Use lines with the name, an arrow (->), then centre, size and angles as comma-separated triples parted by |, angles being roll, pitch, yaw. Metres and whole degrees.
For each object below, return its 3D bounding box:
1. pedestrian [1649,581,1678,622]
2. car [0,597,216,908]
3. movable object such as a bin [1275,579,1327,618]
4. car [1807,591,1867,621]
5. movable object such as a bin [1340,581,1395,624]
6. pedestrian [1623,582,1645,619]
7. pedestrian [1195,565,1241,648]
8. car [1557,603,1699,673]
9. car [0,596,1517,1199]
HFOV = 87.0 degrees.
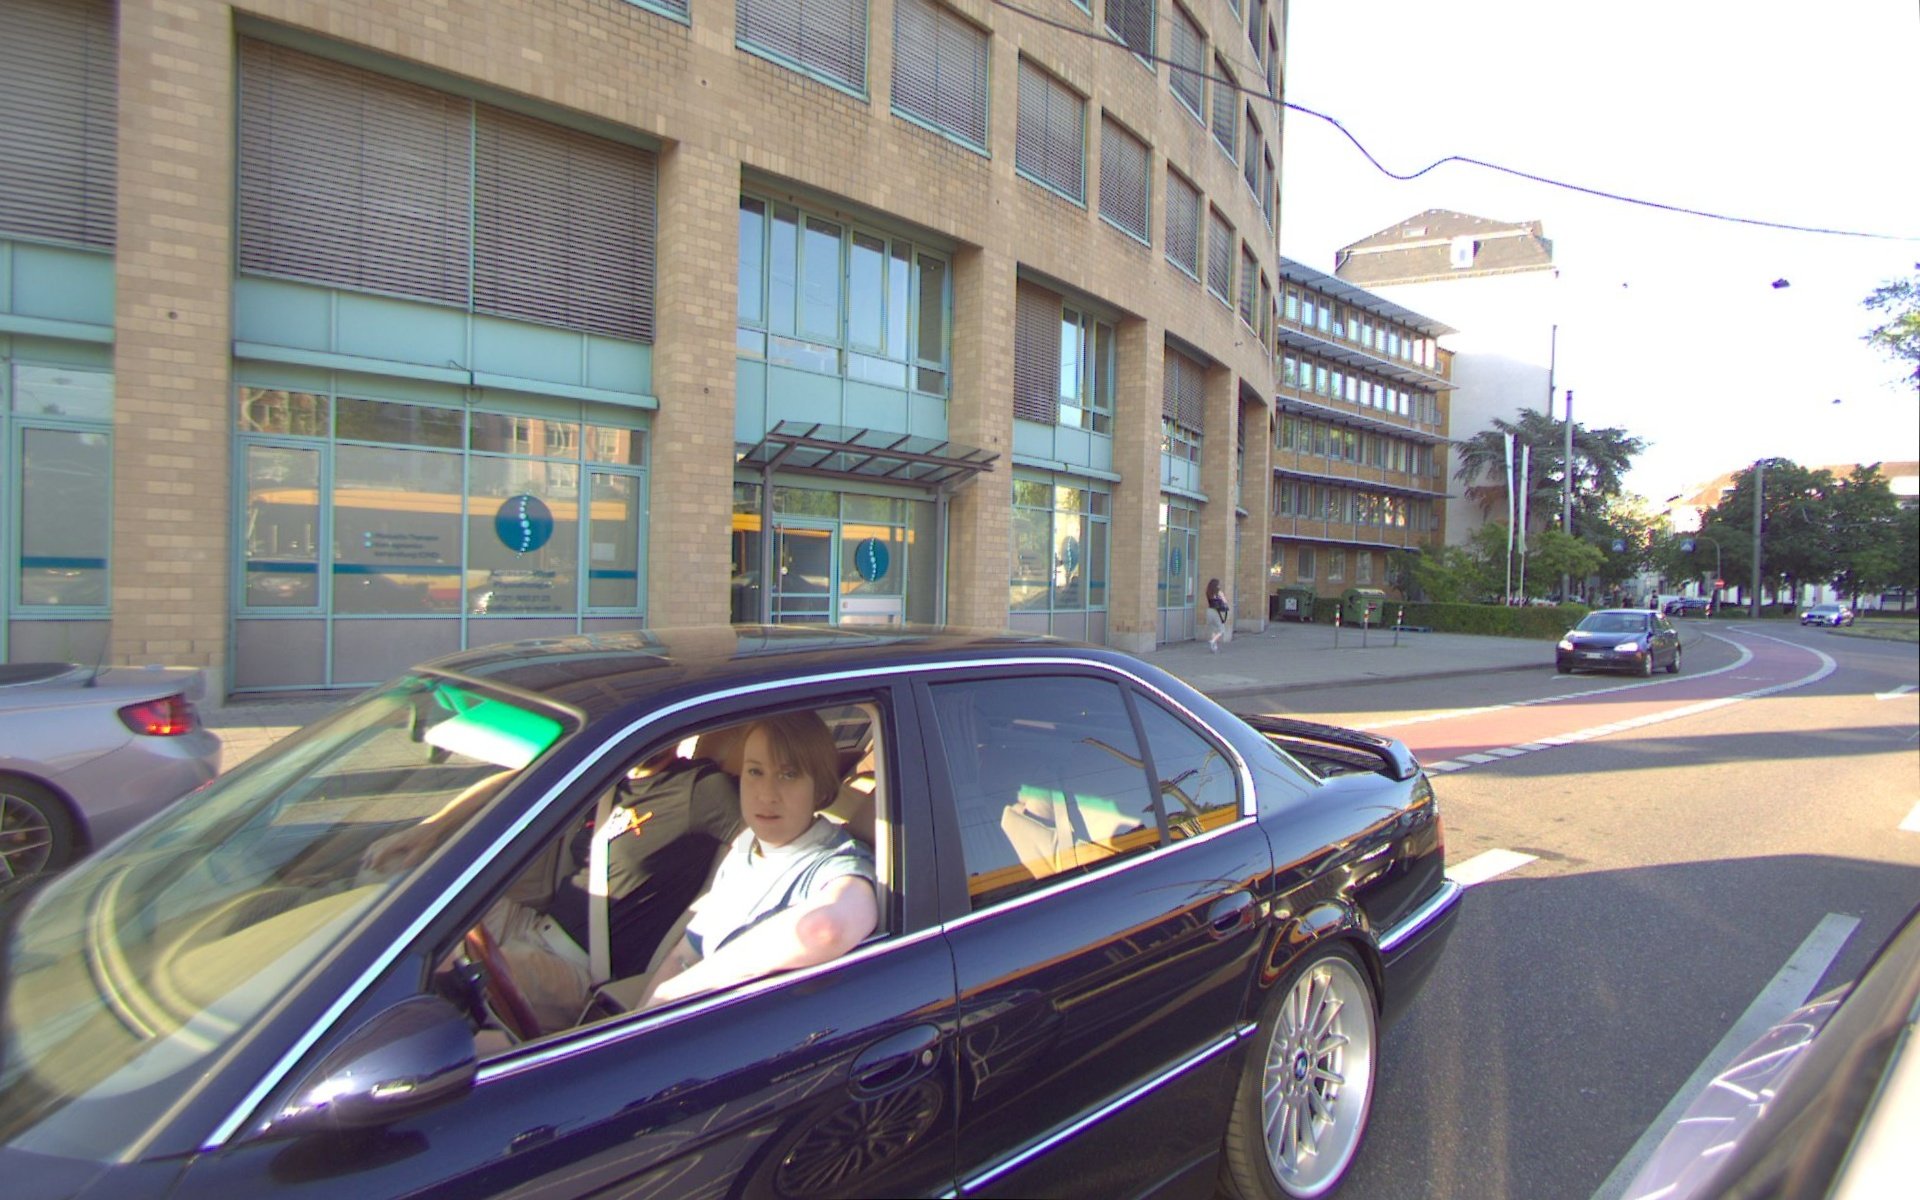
pedestrian -> 33.609, 0.050, 48.334 | 0.901, 1.918, 1.117 | 1, 1, 24
car -> -5.915, 0.694, 4.458 | 4.152, 1.403, 1.747 | 0, 0, -40
movable object such as a bin -> 13.317, -0.077, 39.530 | 1.310, 1.477, 1.425 | 0, 1, -43
car -> 56.176, 0.380, 64.810 | 3.924, 1.771, 2.000 | 0, 1, -36
movable object such as a bin -> 14.868, 0.078, 36.948 | 1.311, 1.477, 1.424 | 0, 1, -45
pedestrian -> 33.613, 0.004, 50.447 | 0.711, 1.830, 0.728 | 0, 1, -41
pedestrian -> 5.437, 0.128, 21.324 | 0.702, 1.702, 0.626 | 0, 1, -44
car -> 15.144, 0.797, 22.874 | 3.932, 1.404, 1.757 | 0, 1, -42
car -> -0.707, 0.707, 2.329 | 4.656, 1.402, 1.997 | 0, 1, -41
